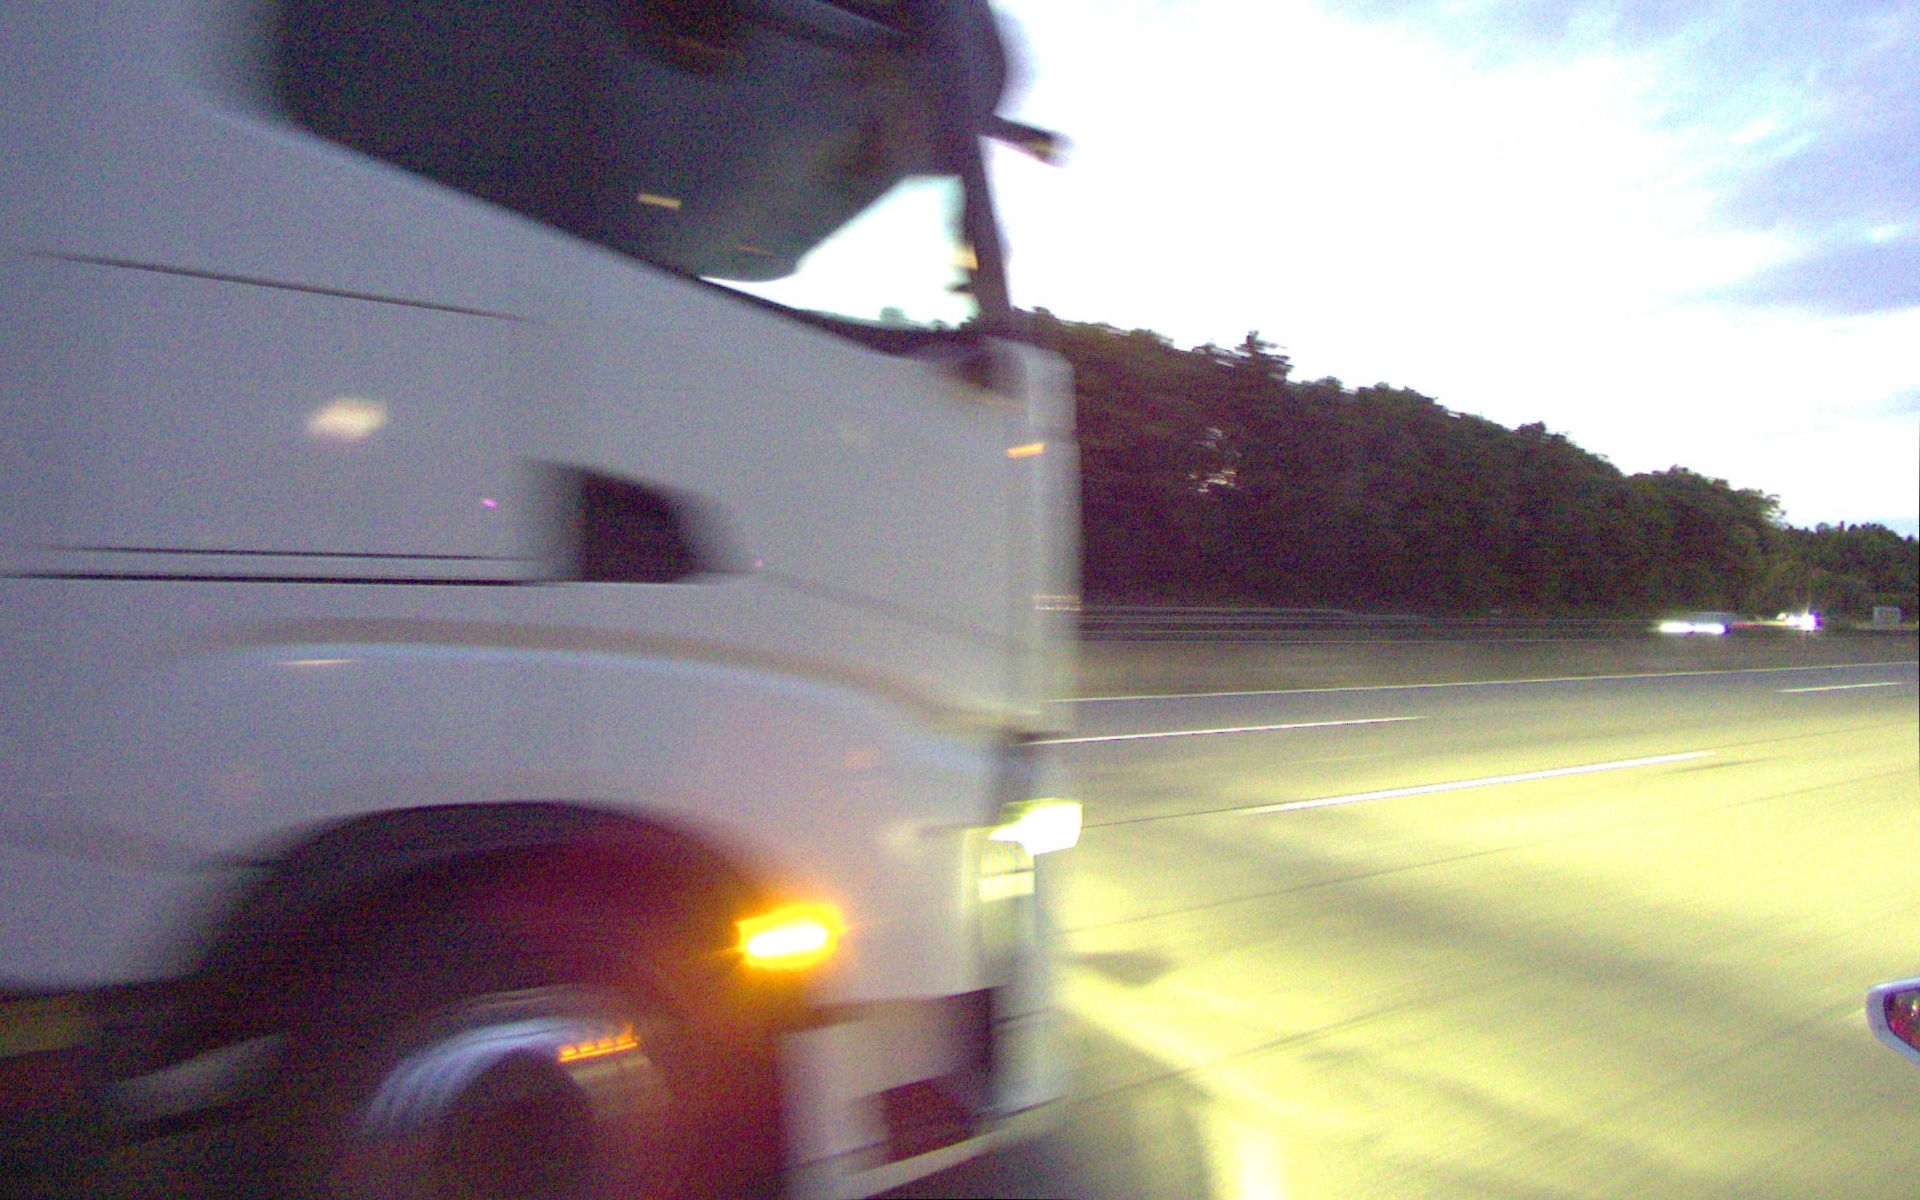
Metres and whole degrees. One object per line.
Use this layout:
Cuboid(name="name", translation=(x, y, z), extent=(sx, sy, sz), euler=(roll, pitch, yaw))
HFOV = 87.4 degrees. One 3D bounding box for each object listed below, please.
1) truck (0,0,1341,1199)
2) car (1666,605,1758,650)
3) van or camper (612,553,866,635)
Cuboid(name="truck", translation=(-2.304, -0.508, 2.323), extent=(6.082, 3.954, 2.765), euler=(1, 0, -30))
Cuboid(name="car", translation=(36.561, 1.329, 48.841), extent=(4.442, 2.040, 1.984), euler=(2, 0, -30))
Cuboid(name="van or camper", translation=(-5.985, -0.095, 27.566), extent=(6.418, 2.040, 2.365), euler=(1, 0, -31))
